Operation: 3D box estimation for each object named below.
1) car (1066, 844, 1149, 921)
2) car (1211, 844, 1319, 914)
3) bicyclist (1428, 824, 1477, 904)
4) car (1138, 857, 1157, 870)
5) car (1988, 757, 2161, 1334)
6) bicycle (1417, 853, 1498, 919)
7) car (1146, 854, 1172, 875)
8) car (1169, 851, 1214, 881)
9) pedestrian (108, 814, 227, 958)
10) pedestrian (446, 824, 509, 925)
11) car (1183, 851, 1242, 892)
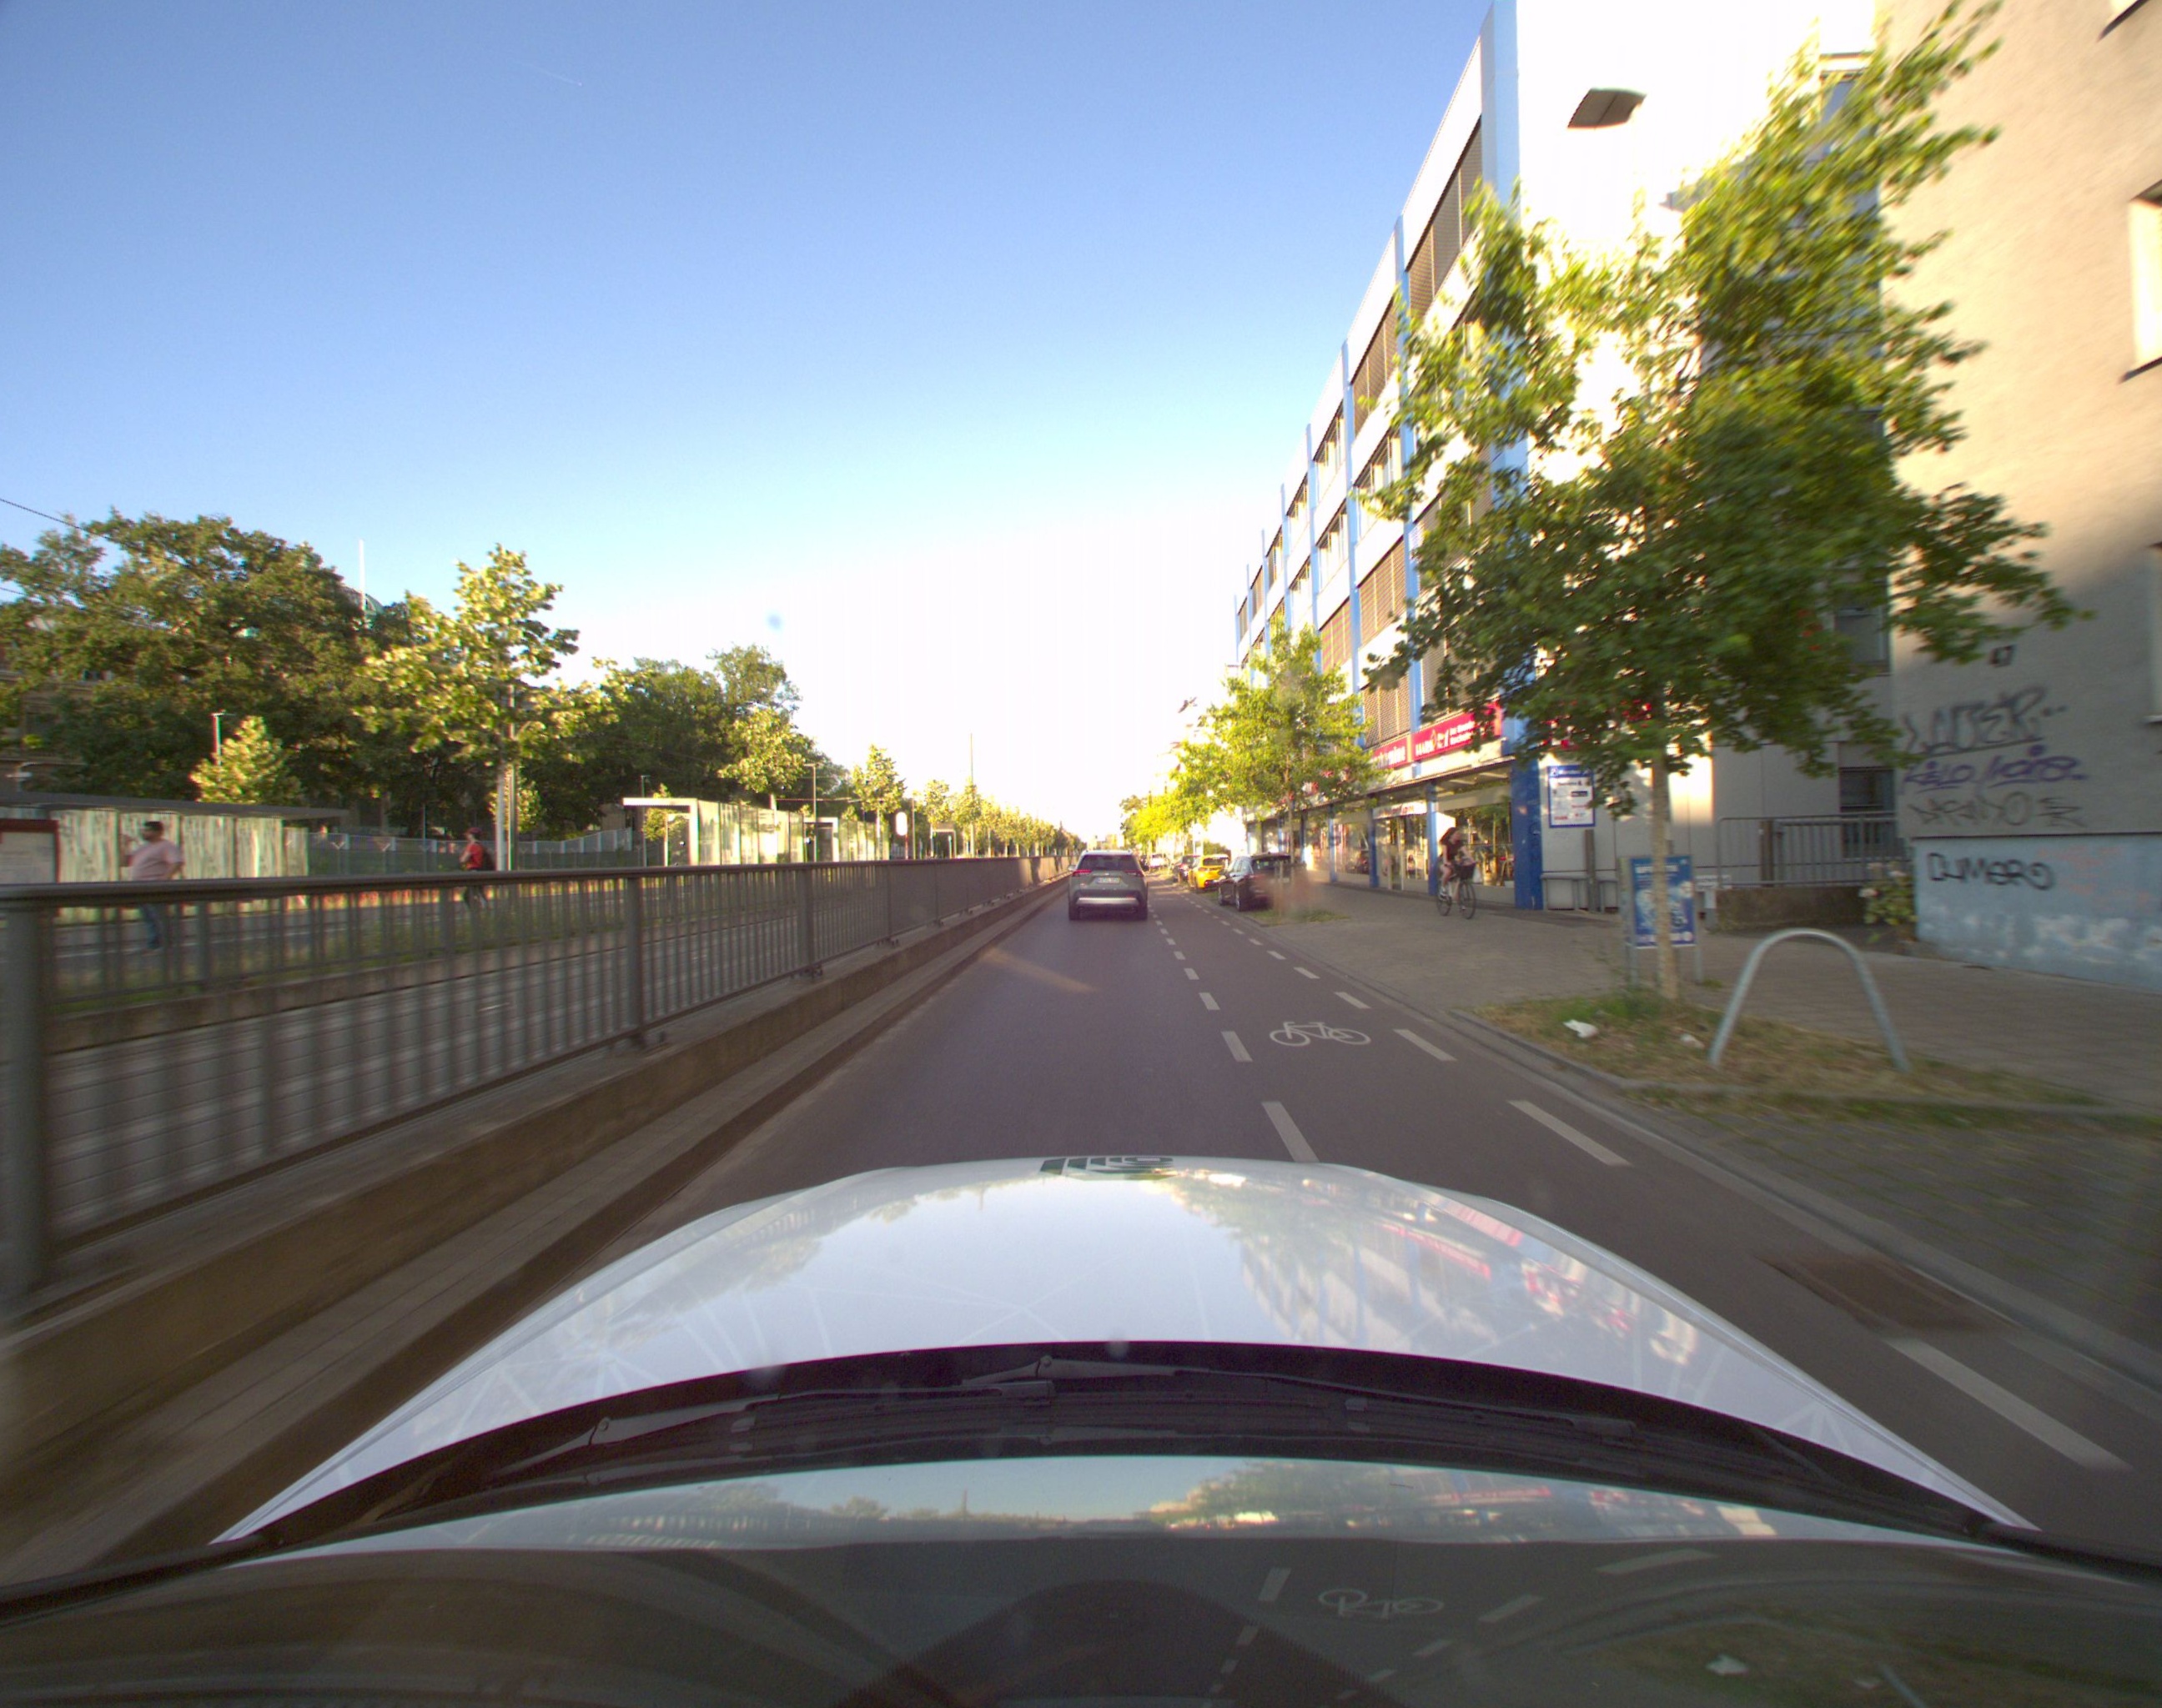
[{"bbox_3d":[0.624,0.649,20.324,1.851,1.714,4.192,0,0,0],"label":"car"},{"bbox_3d":[4.946,0.634,22.591,1.813,1.566,4.810,-5,0,0],"label":"car"},{"bbox_3d":[7.093,0.188,15.560,0.556,1.475,0.623,-4,-1,0],"label":"bicyclist"},{"bbox_3d":[8.264,1.169,101.603,1.787,1.471,4.443,-4,0,-1],"label":"car"},{"bbox_3d":[3.842,0.494,0.410,1.750,1.654,4.531,-4,0,2],"label":"car"},{"bbox_3d":[7.128,0.584,15.521,0.552,1.129,1.974,-5,-1,0],"label":"bicycle"},{"bbox_3d":[6.896,0.903,72.189,1.848,1.706,4.254,-2,0,0],"label":"car"},{"bbox_3d":[5.778,0.617,42.957,1.813,1.454,4.128,-3,0,0],"label":"car"},{"bbox_3d":[-11.460,0.382,10.242,0.724,1.744,0.635,-1,0,-6],"label":"pedestrian"},{"bbox_3d":[-10.686,0.350,14.436,0.634,1.729,0.634,-2,0,-10],"label":"pedestrian"},{"bbox_3d":[5.217,0.669,32.709,1.678,1.454,4.129,-3,0,0],"label":"car"}]
